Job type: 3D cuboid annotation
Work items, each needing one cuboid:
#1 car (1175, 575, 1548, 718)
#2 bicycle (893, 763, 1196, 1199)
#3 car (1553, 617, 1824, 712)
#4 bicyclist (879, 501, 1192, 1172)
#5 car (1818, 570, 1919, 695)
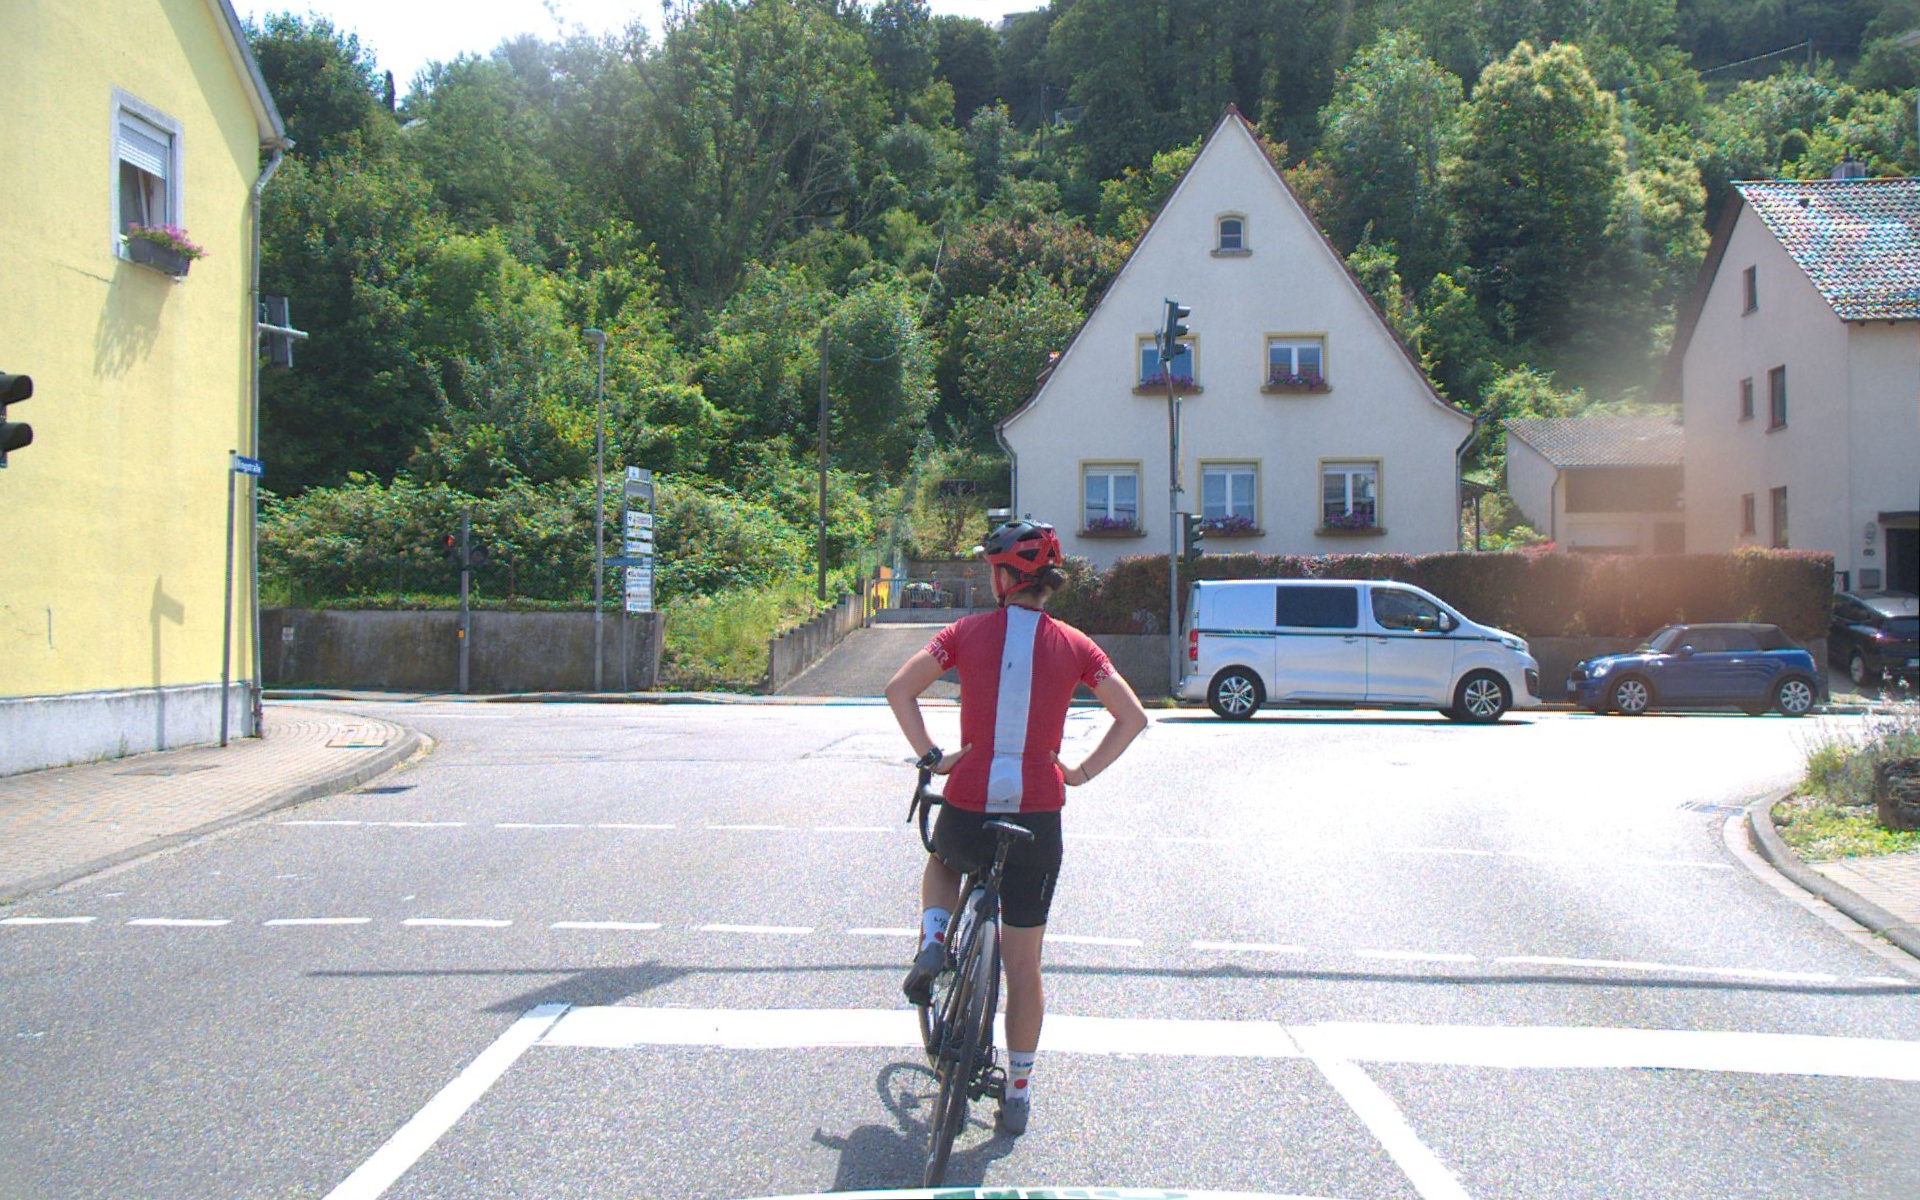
[{"bbox_3d":[5.380,0.634,22.759,4.770,1.854,2.001,0,-2,6],"label":"car"},{"bbox_3d":[0.161,0.998,4.585,0.617,0.920,1.655,1,0,-4],"label":"bicycle"},{"bbox_3d":[11.320,1.016,25.882,3.533,1.387,1.645,1,-3,3],"label":"car"},{"bbox_3d":[0.174,0.604,4.642,0.746,1.693,0.868,1,0,-5],"label":"bicyclist"},{"bbox_3d":[17.321,0.546,30.835,1.758,1.411,3.696,0,14,19],"label":"car"}]
